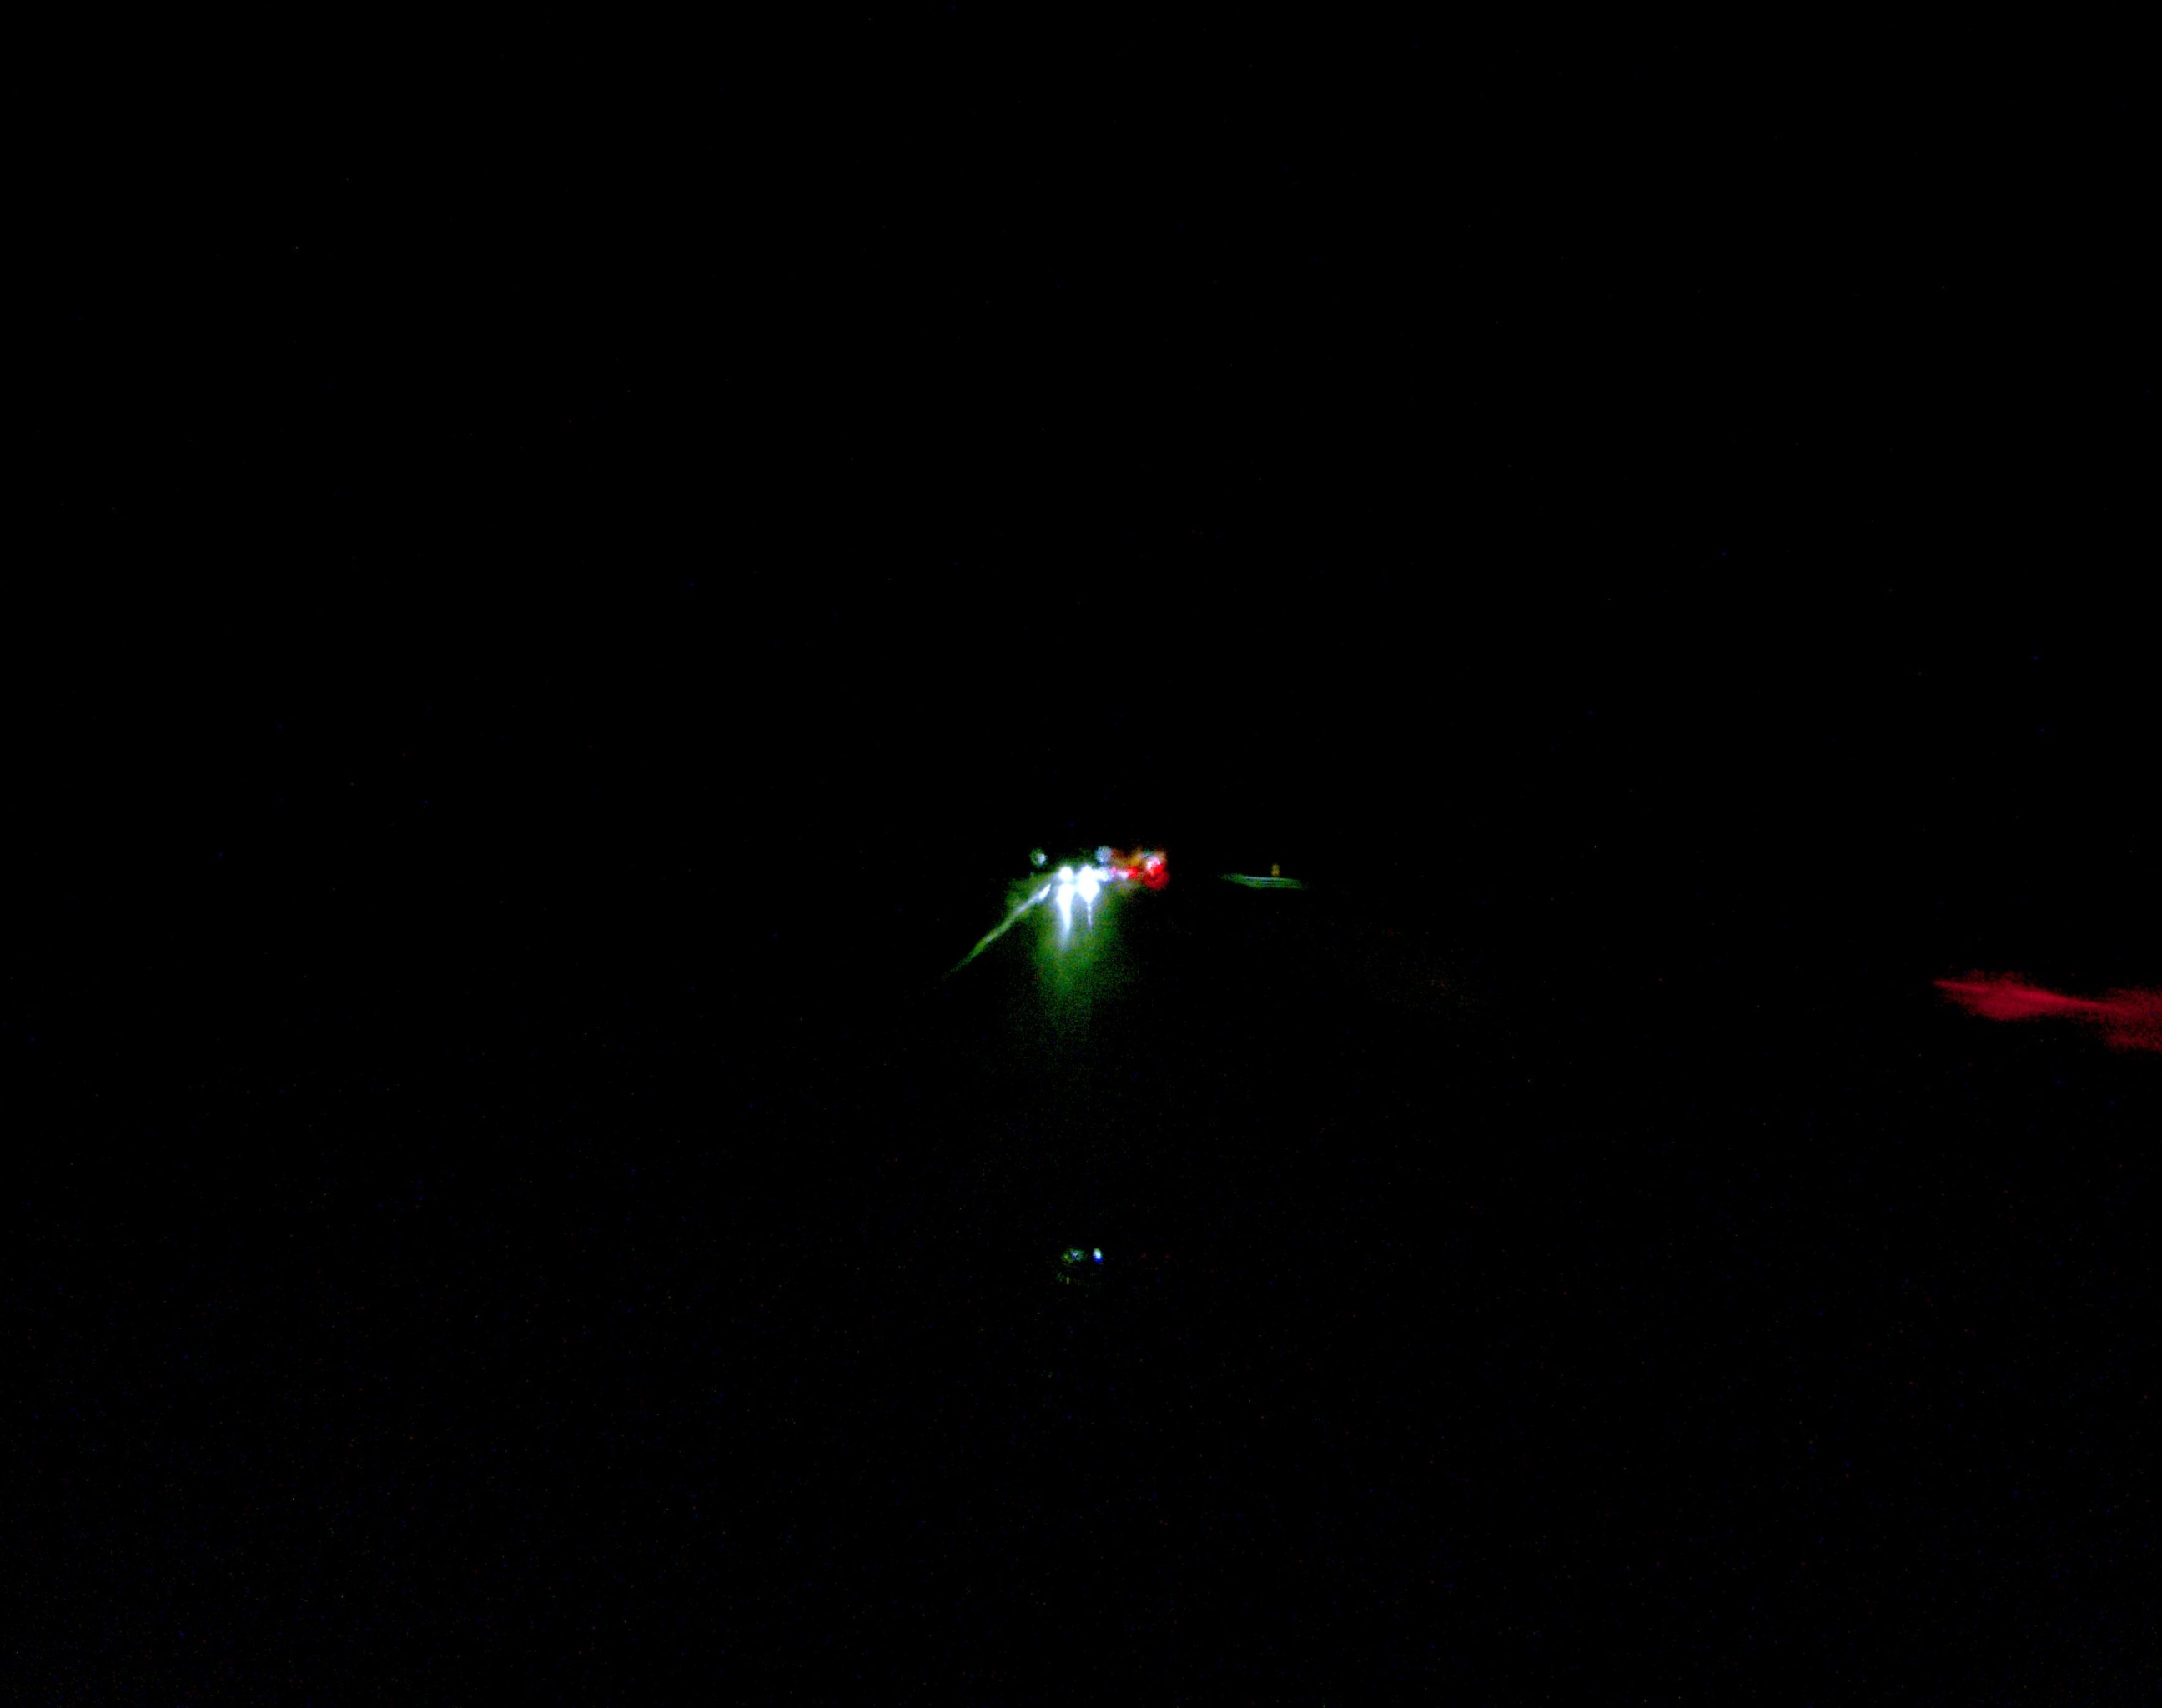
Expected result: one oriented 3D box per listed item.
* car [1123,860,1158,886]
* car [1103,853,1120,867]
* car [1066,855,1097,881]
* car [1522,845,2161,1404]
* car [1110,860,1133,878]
[{"bbox_3d":[3.595,1.117,46.567,1.649,1.417,4.122,-2,0,-2],"label":"car"},{"bbox_3d":[3.738,0.713,92.439,1.813,1.591,4.631,-2,0,0],"label":"car"},{"bbox_3d":[0.078,1.019,55.443,1.998,1.804,4.002,1,-1,4],"label":"car"},{"bbox_3d":[3.804,0.744,3.163,1.720,1.508,3.878,1,0,1],"label":"car"},{"bbox_3d":[3.351,1.210,63.723,1.649,1.417,3.659,-2,-1,-1],"label":"car"}]
